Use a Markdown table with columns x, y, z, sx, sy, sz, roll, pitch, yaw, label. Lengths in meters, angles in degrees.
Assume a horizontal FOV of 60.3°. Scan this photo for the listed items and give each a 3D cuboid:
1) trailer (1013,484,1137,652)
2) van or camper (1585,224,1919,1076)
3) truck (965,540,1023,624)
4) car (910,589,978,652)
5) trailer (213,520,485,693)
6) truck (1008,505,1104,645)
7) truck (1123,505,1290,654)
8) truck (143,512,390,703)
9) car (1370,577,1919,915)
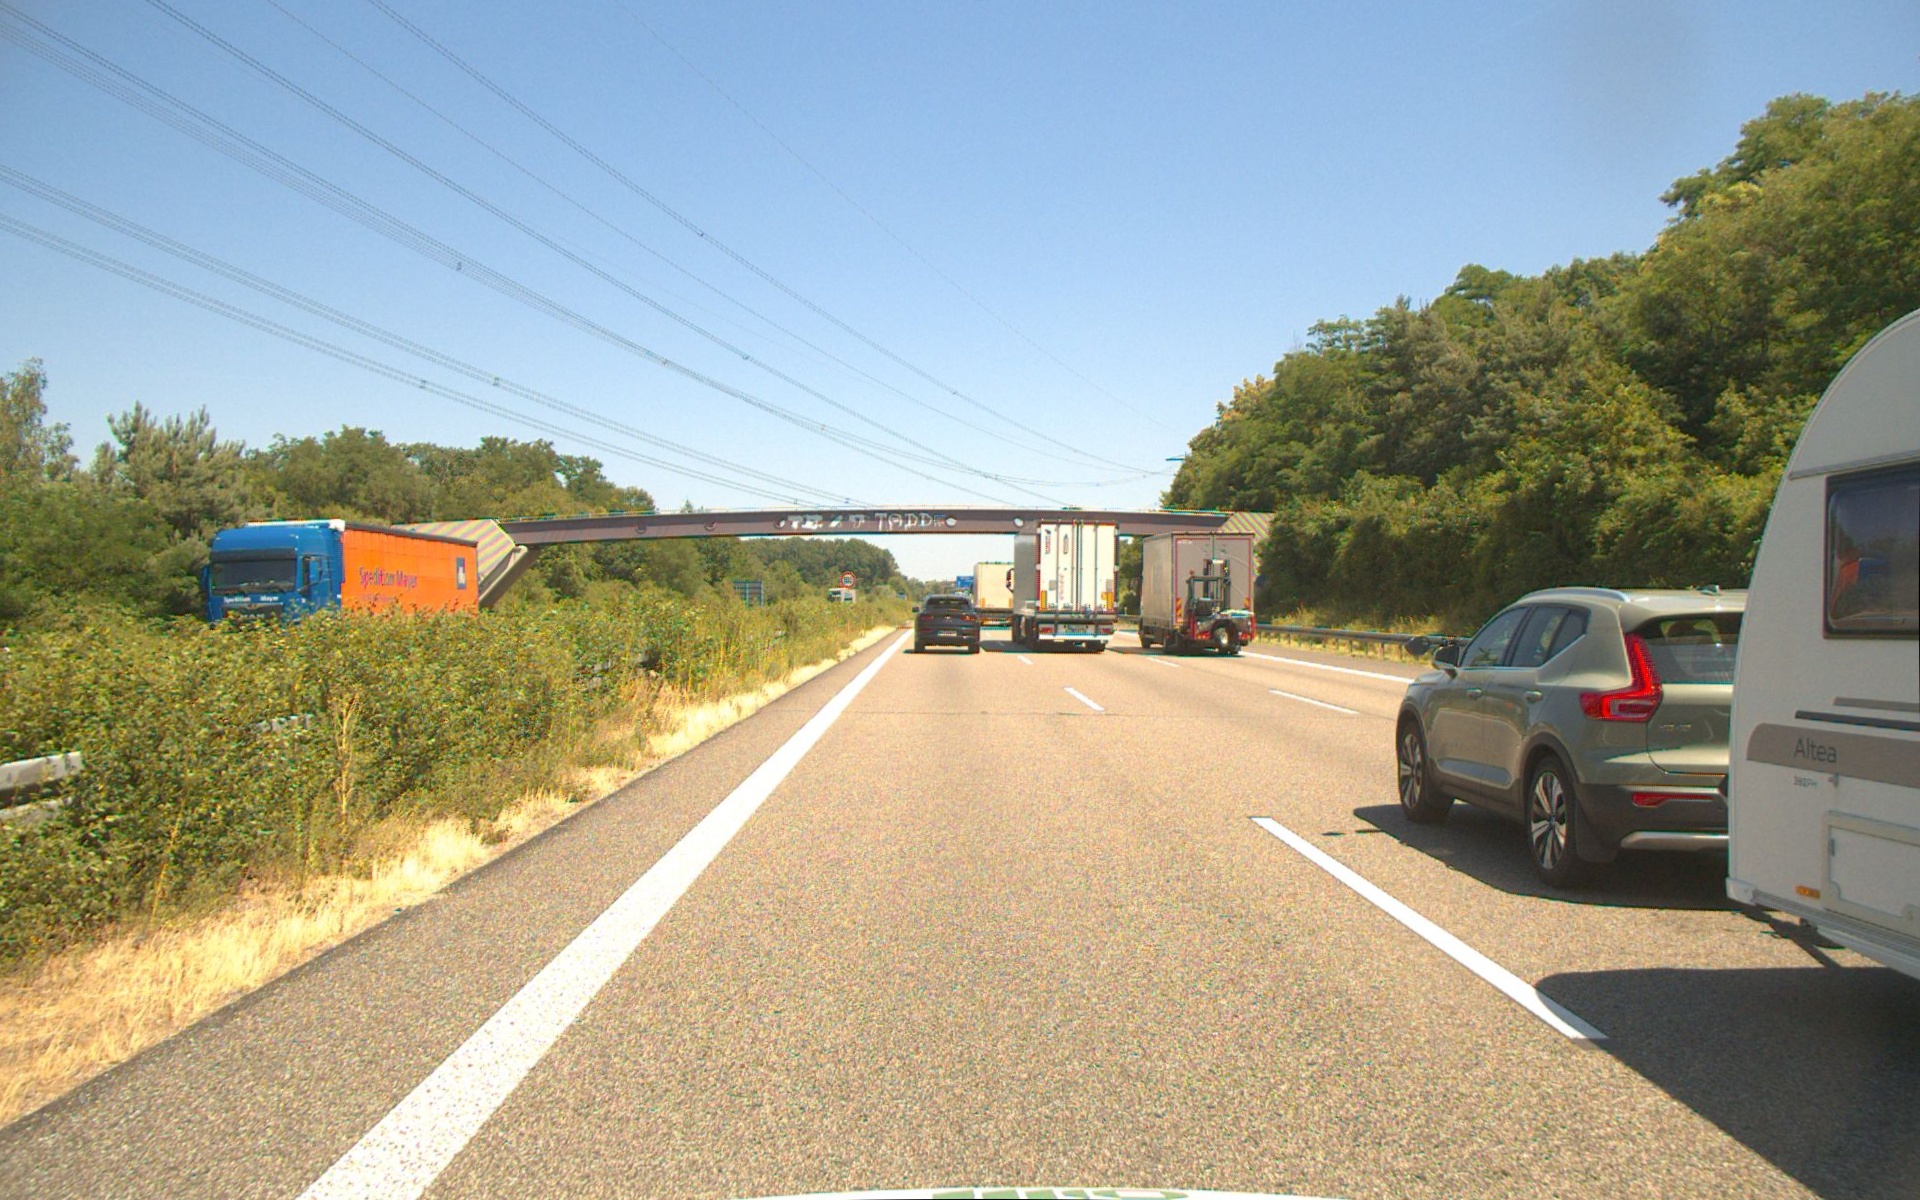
| x | y | z | sx | sy | sz | roll | pitch | yaw | label |
| --- | --- | --- | --- | --- | --- | --- | --- | --- | --- |
| 3.638 | -0.925 | 55.690 | 3.024 | 4.970 | 12.255 | 1 | 0 | -1 | trailer |
| 4.271 | 0.158 | 4.806 | 2.389 | 2.721 | 6.348 | 0 | 0 | -1 | van or camper |
| 2.176 | -1.155 | 109.728 | 3.440 | 5.257 | 10.256 | 1 | 0 | -1 | truck |
| -0.528 | 0.583 | 50.020 | 1.953 | 1.803 | 3.998 | 0 | 0 | -2 | car |
| -18.130 | 0.164 | 50.668 | 3.276 | 4.484 | 14.161 | -1 | 0 | -1 | trailer |
| 3.545 | -0.888 | 62.769 | 3.024 | 4.970 | 6.596 | 1 | 0 | -1 | truck |
| 7.837 | -0.570 | 54.490 | 3.498 | 4.319 | 11.649 | 1 | 0 | -1 | truck |
| -17.909 | 0.168 | 43.428 | 3.276 | 4.484 | 7.968 | -1 | 0 | -2 | truck |
| 4.135 | 0.715 | 10.418 | 1.841 | 1.640 | 4.700 | 1 | 0 | -1 | car |
